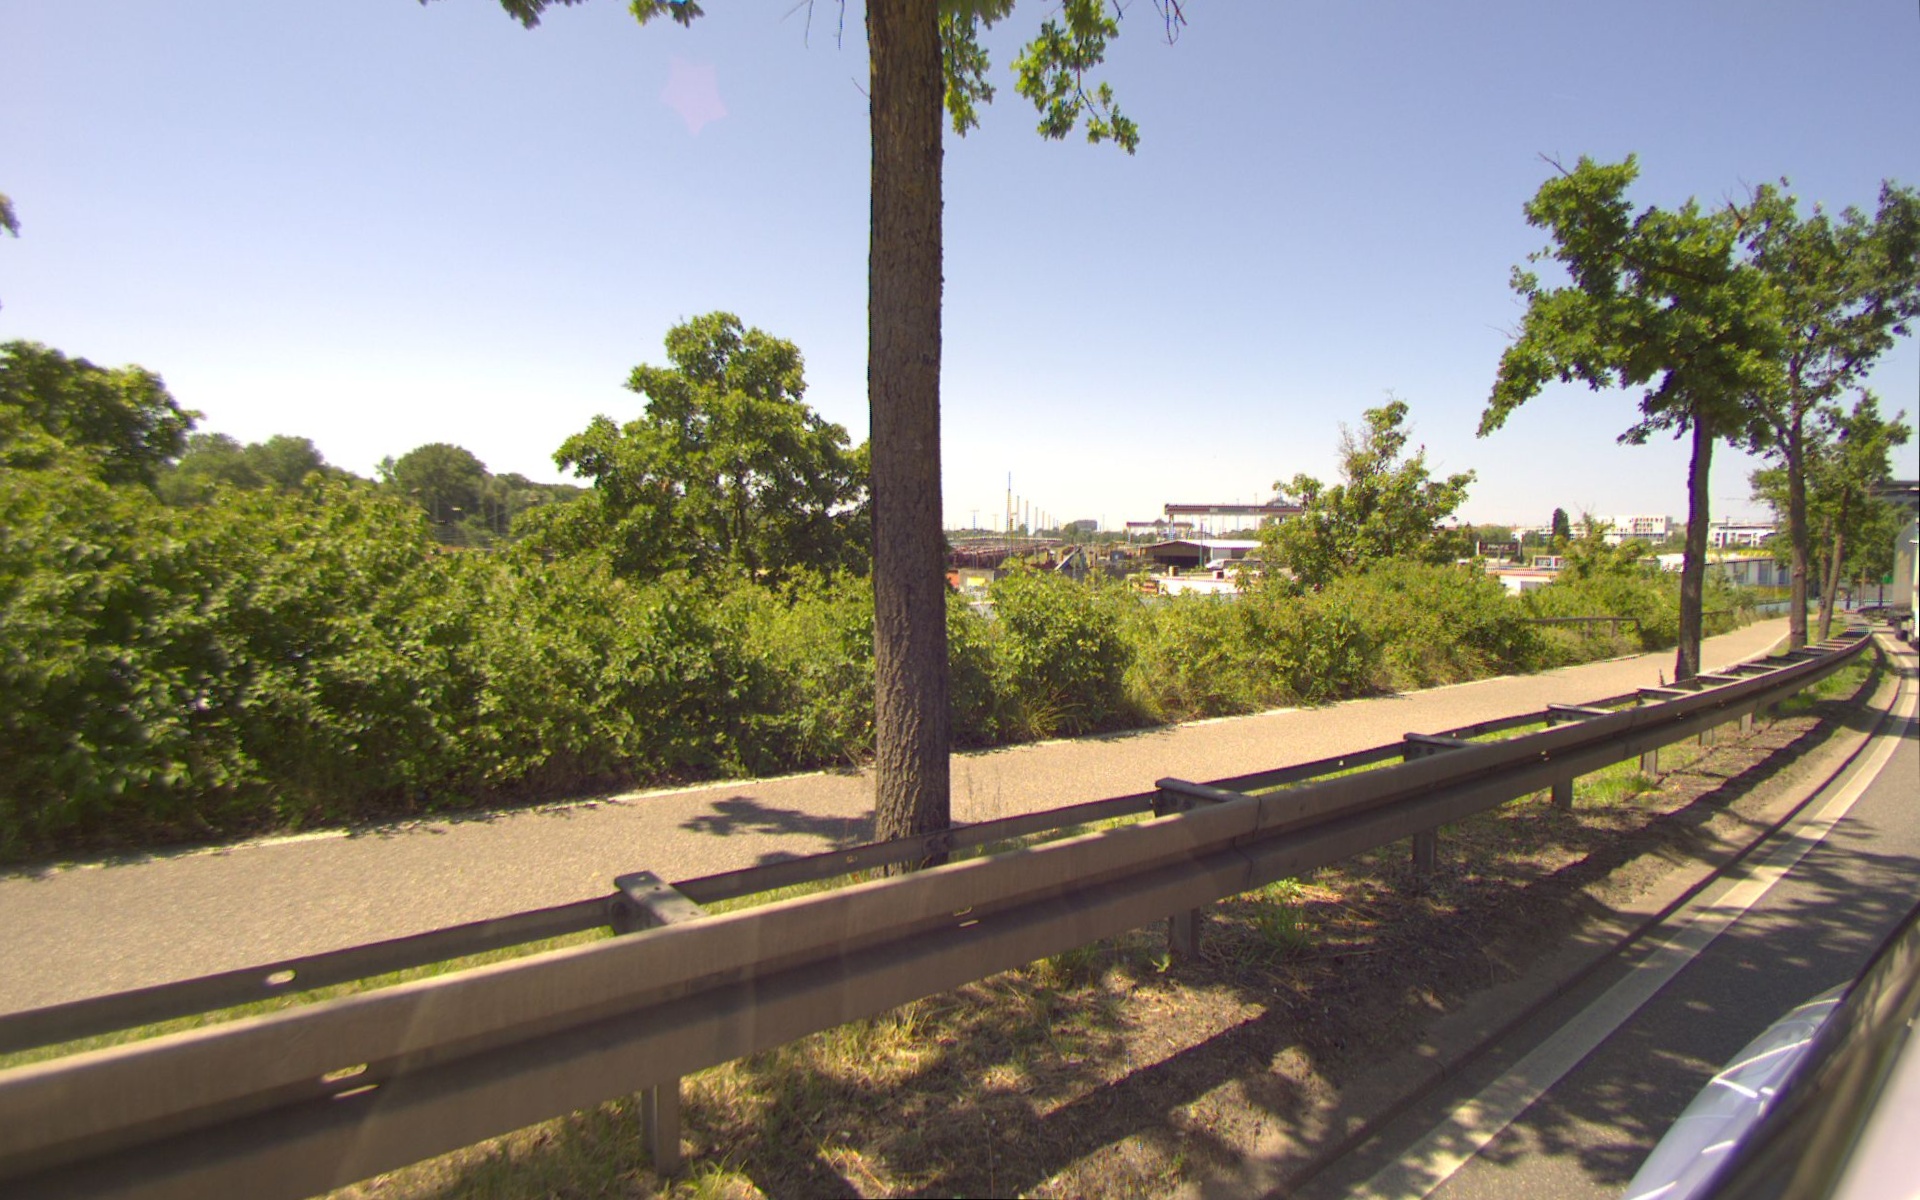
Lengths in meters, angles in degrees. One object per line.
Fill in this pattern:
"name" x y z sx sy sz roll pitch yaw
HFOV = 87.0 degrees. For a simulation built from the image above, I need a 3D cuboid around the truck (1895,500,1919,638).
"truck" 34.042 -0.986 34.090 3.059 4.223 16.663 0 1 41
